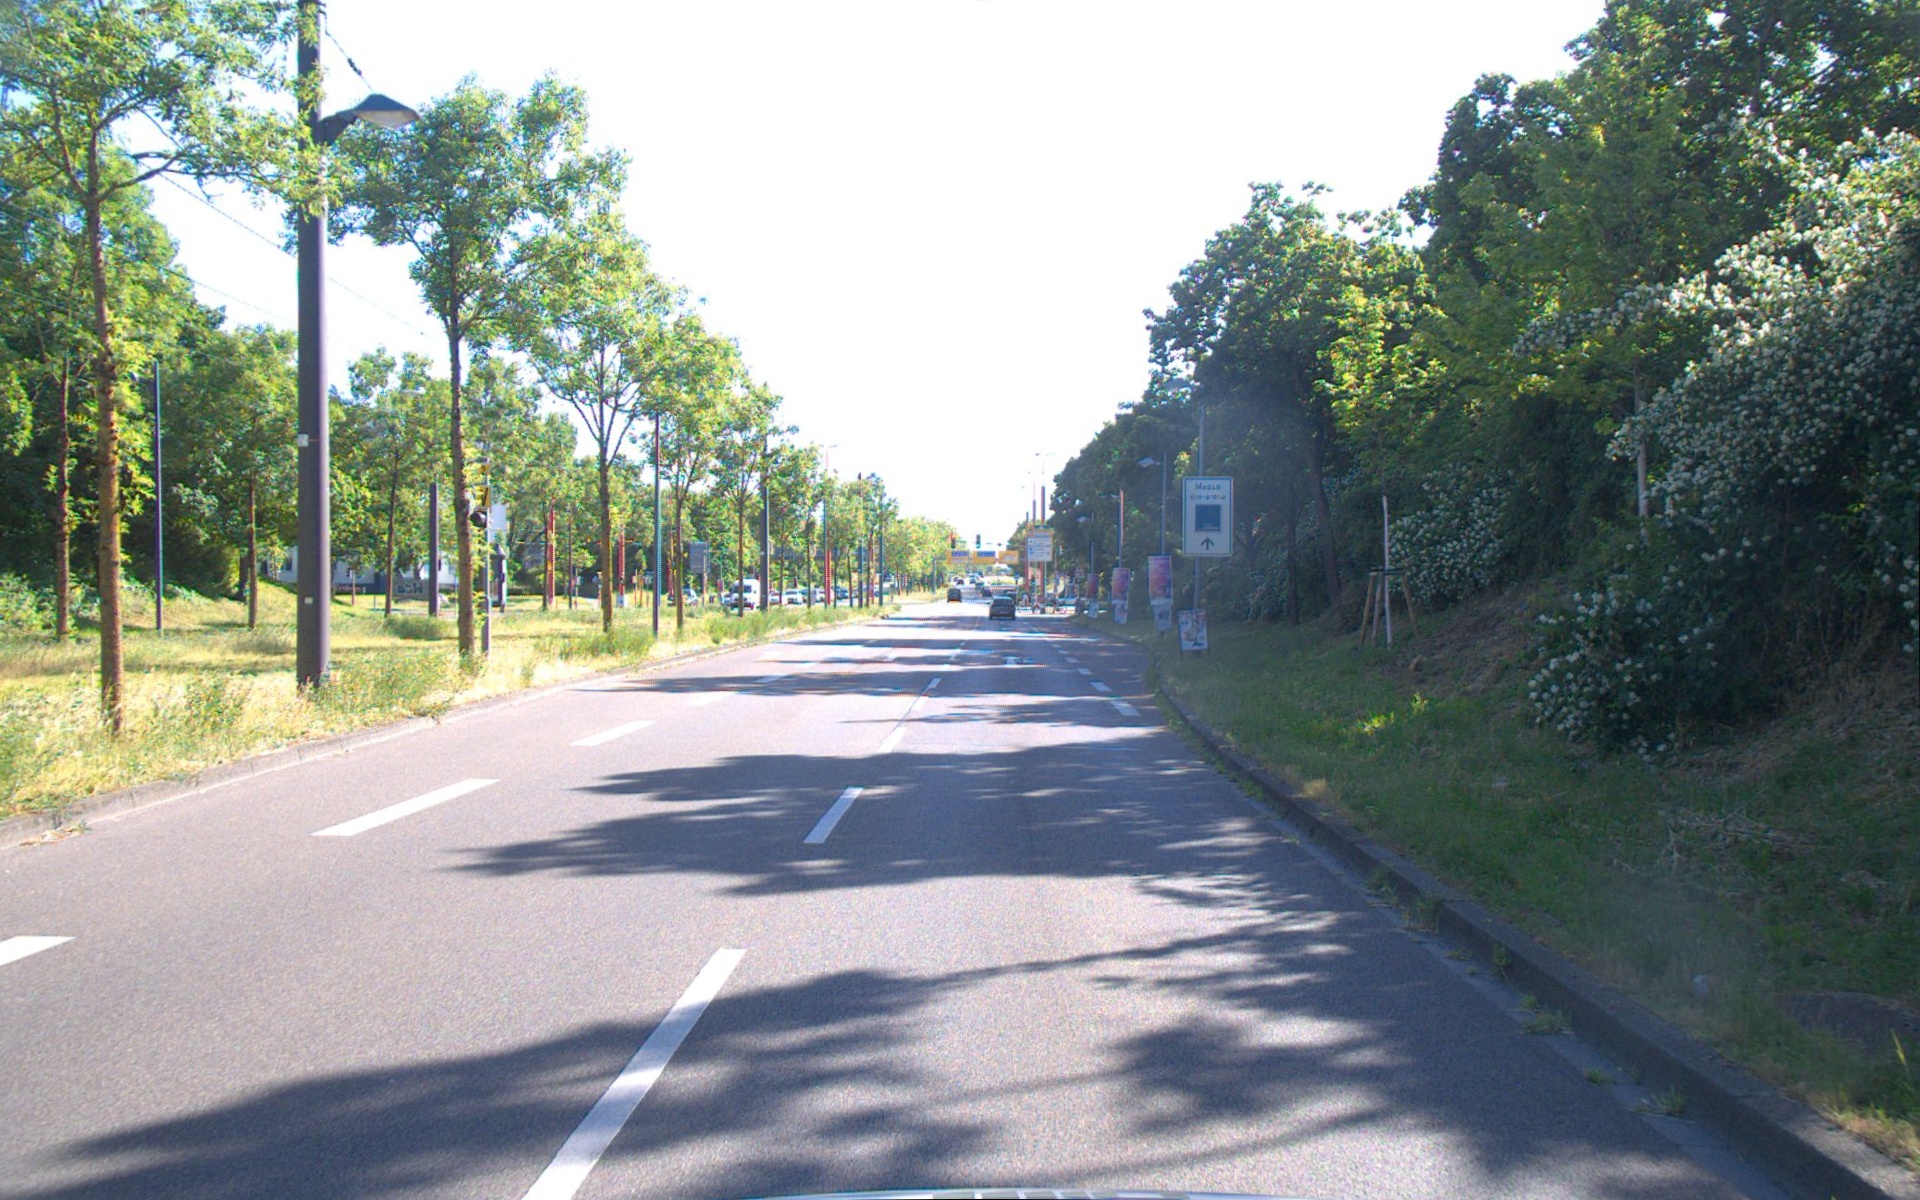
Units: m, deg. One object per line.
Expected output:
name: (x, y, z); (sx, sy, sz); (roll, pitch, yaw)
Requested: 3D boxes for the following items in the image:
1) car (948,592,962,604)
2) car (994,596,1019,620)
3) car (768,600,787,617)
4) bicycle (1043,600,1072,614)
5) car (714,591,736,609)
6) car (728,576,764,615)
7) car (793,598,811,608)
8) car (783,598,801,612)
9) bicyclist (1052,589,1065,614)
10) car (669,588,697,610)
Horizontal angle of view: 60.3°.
car: (-0.619, -0.235, 204.711); (1.600, 1.524, 4.235); (1, 0, 1)
car: (3.102, 0.503, 109.836); (1.600, 1.524, 4.235); (1, 0, 1)
car: (-18.879, 0.868, 171.259); (1.598, 1.710, 4.191); (1, 0, -1)
bicycle: (8.071, 0.595, 137.573); (2.365, 1.129, 0.812); (1, 0, 0)
car: (-22.877, 0.005, 161.247); (1.598, 1.710, 4.191); (1, 0, -1)
car: (-18.865, -0.366, 145.904); (2.415, 3.296, 6.133); (1, 0, -1)
car: (-18.067, 0.366, 189.249); (1.598, 1.130, 4.191); (1, 0, -1)
car: (-18.367, 0.504, 180.680); (1.598, 1.471, 4.191); (1, 0, -1)
bicyclist: (8.197, 0.144, 137.573); (0.988, 2.042, 0.812); (1, 0, 1)
car: (-22.668, -0.102, 135.581); (1.598, 1.710, 4.191); (1, 0, -1)
